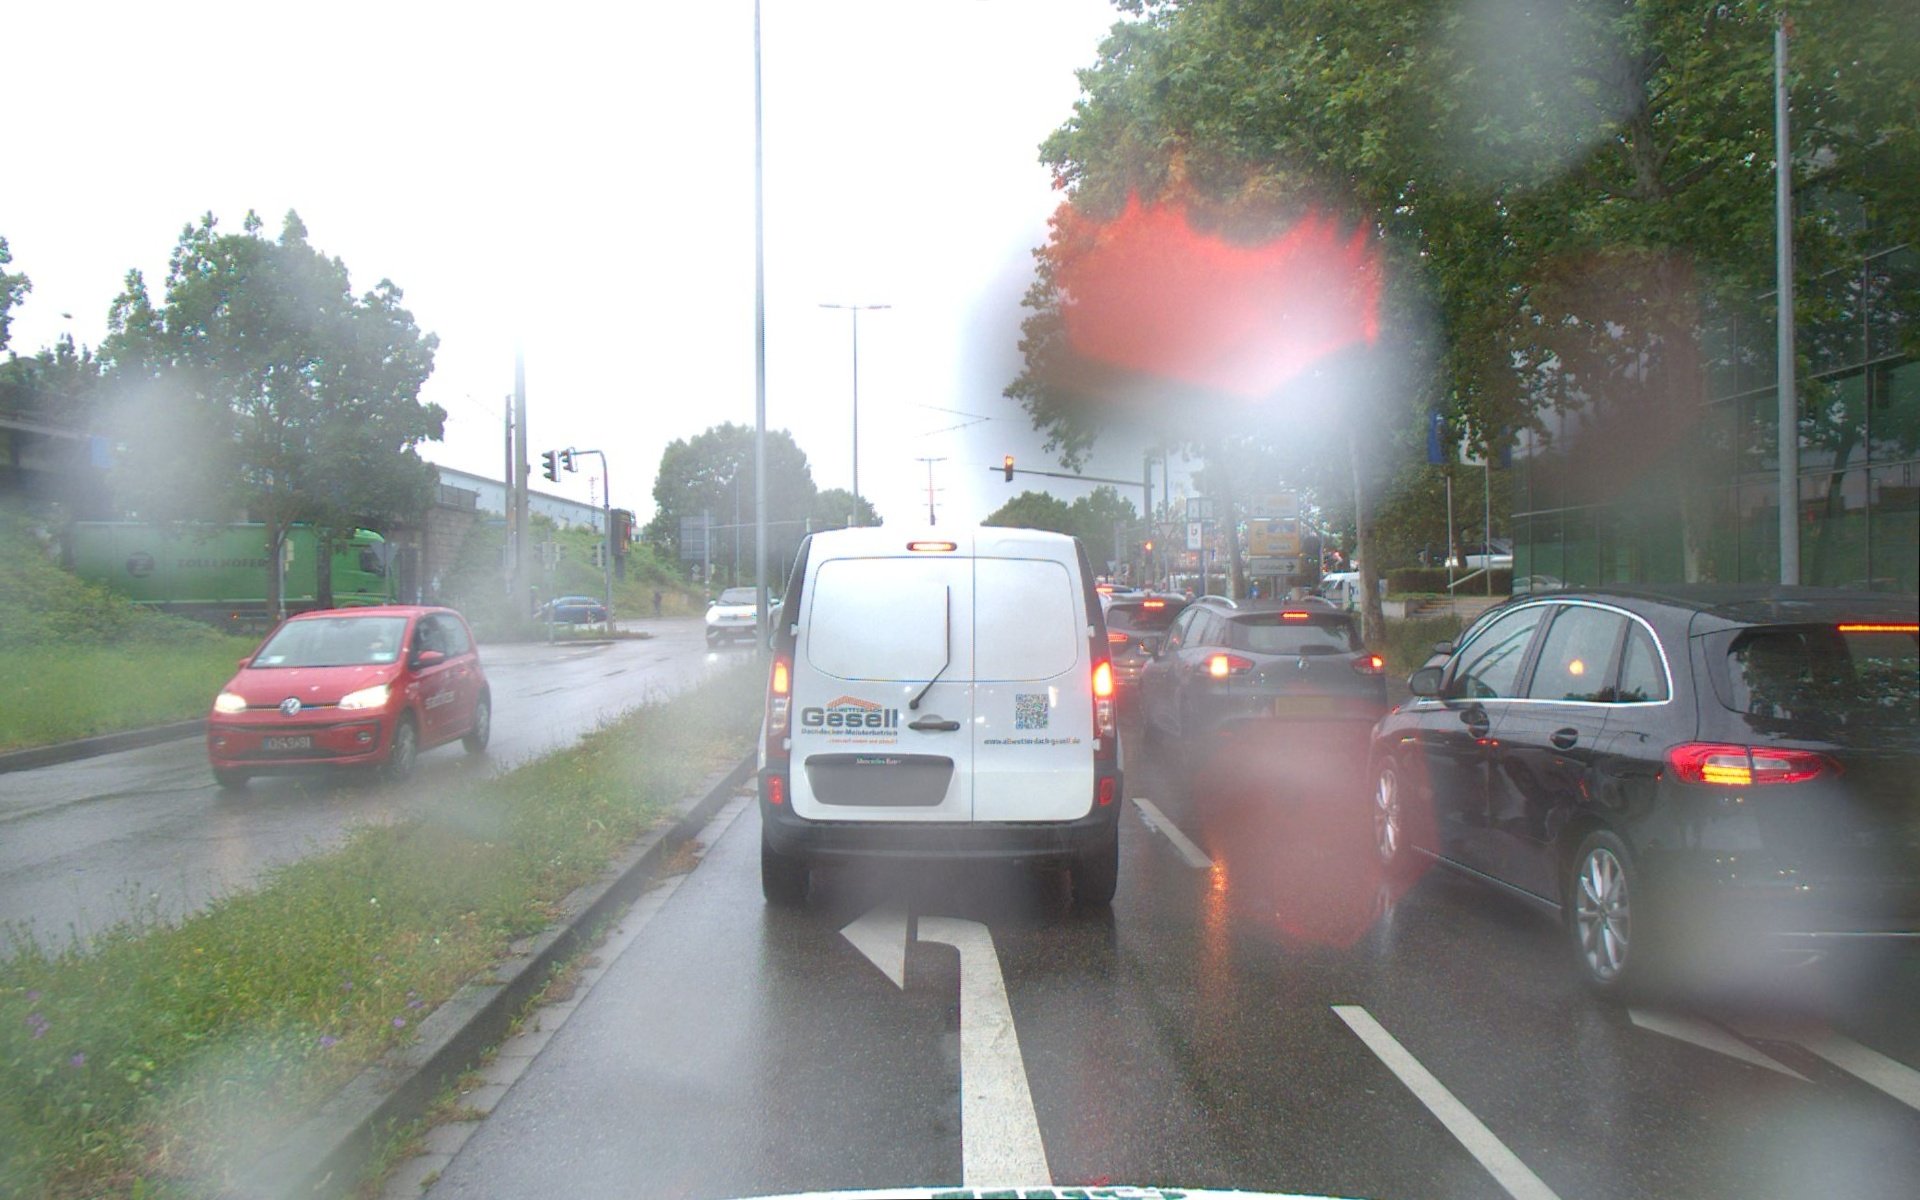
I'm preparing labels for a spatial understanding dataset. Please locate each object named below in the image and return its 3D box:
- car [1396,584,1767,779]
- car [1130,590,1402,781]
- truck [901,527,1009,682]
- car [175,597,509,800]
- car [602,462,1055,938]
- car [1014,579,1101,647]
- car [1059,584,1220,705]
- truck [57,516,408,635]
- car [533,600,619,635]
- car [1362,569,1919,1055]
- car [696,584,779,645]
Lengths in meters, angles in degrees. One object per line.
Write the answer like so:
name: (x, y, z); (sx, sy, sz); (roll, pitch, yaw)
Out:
car: (5.580, 0.664, 15.448); (1.802, 1.563, 4.110); (1, 0, -2)
car: (2.626, 0.664, 15.065); (1.677, 1.470, 3.999); (0, 1, -1)
truck: (-0.146, 0.076, 28.986); (1.721, 2.509, 3.998); (0, 0, -3)
car: (-5.503, 0.793, 15.217); (1.681, 1.540, 3.614); (-2, 1, 0)
car: (-0.650, 0.416, 9.174); (1.954, 2.049, 3.998); (0, 0, -3)
car: (2.174, 0.254, 37.740); (1.677, 1.470, 3.999); (0, 1, -1)
car: (2.344, 0.531, 22.437); (1.677, 1.470, 3.999); (0, 1, -1)
truck: (-23.241, -0.637, 53.364); (10.038, 3.512, 2.622); (1, -2, -39)
car: (-19.314, 0.876, 83.105); (3.888, 1.551, 1.760); (-3, 1, -27)
car: (3.210, 0.653, 7.423); (1.674, 1.577, 3.998); (0, 1, -3)
car: (-6.326, 0.386, 47.489); (1.923, 1.551, 4.332); (-2, 1, -3)
